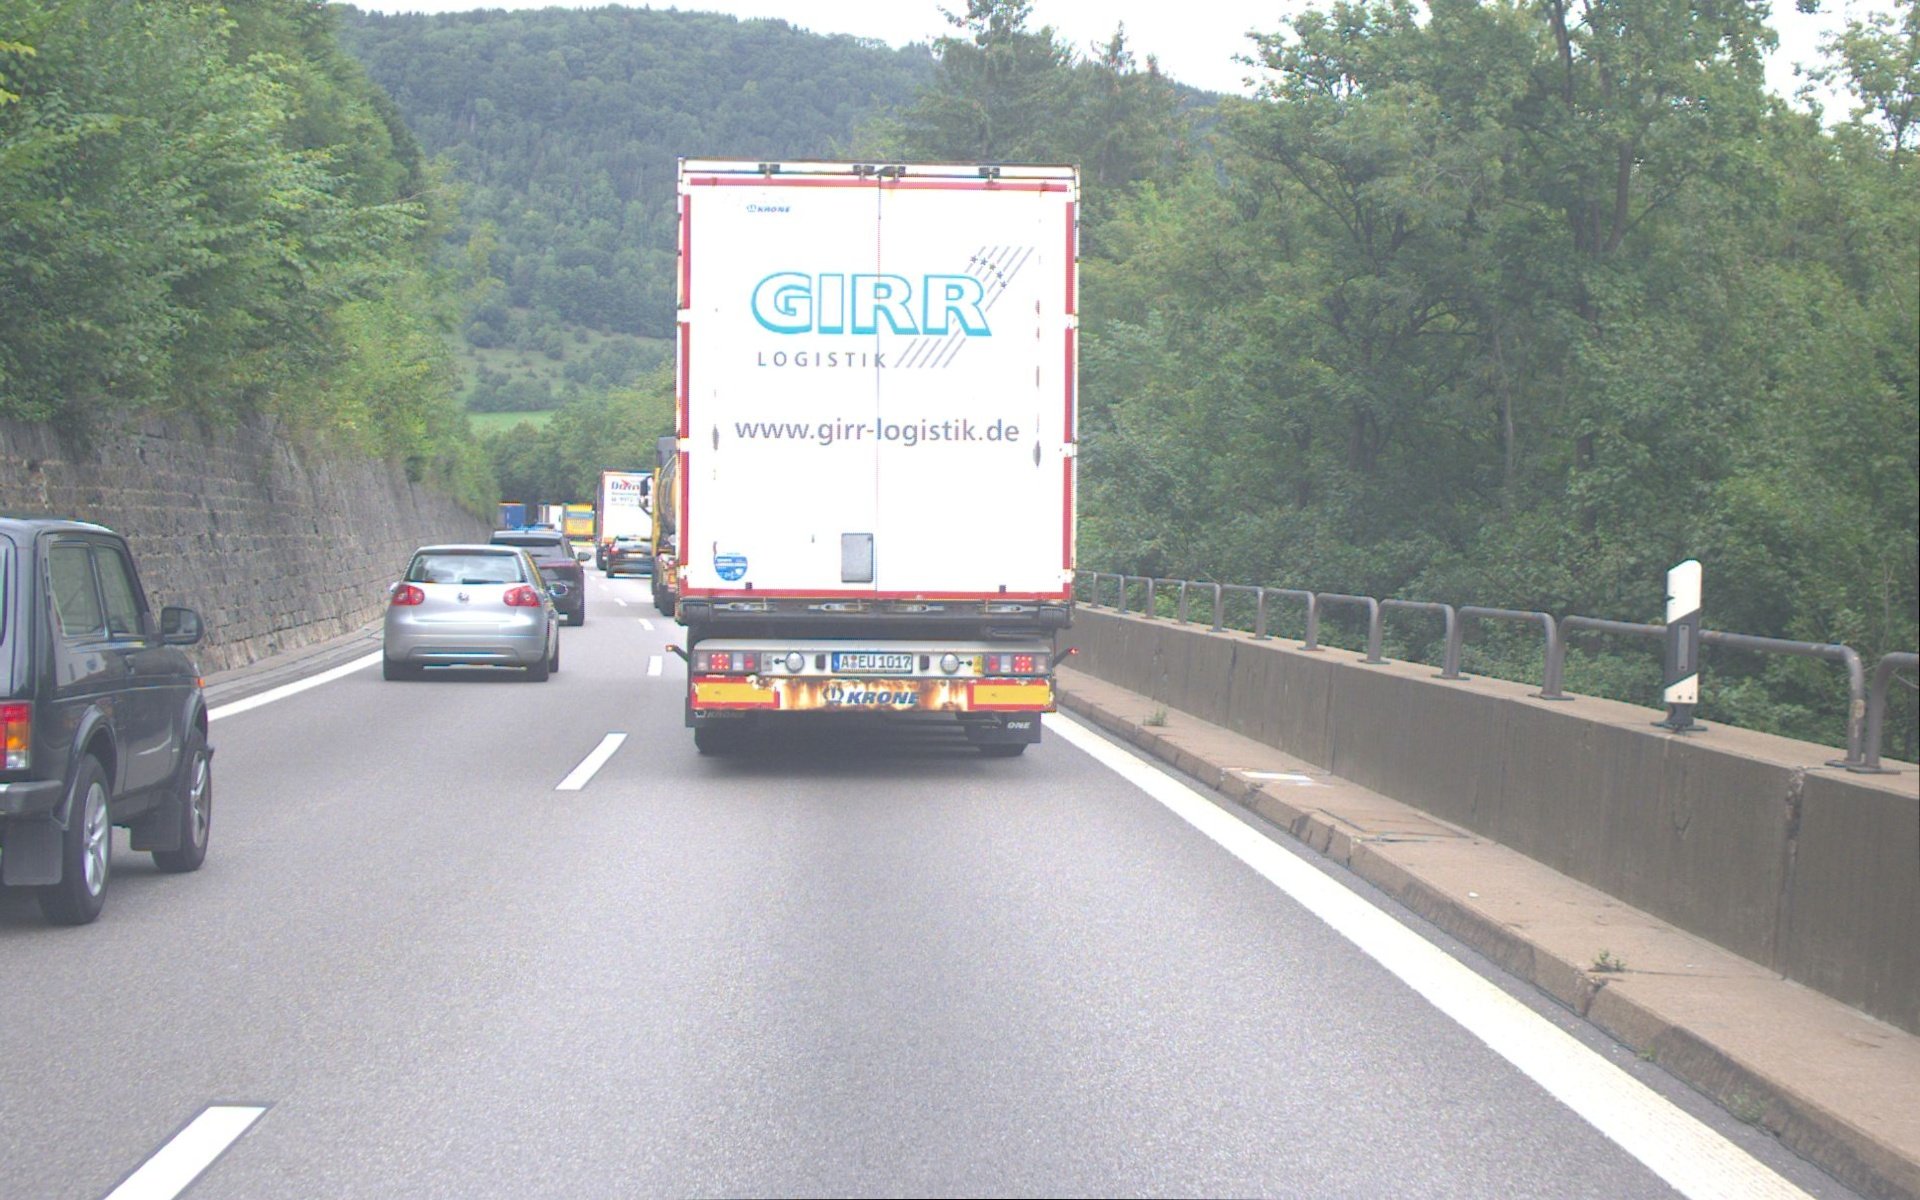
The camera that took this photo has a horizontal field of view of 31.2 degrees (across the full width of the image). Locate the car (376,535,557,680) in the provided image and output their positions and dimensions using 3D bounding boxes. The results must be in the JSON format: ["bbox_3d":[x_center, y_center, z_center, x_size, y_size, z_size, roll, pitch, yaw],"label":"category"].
[{"bbox_3d":[-5.369,0.058,37.783,1.729,1.481,4.001,1,1,-5],"label":"car"}]

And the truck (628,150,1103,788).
[{"bbox_3d":[-0.770,-0.884,26.179,2.908,3.947,9.280,1,1,-2],"label":"truck"}]

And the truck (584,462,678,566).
[{"bbox_3d":[-13.216,-3.388,139.083,3.510,3.834,11.778,2,0,-5],"label":"truck"}]

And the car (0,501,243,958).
[{"bbox_3d":[-4.182,0.428,14.287,1.669,1.633,4.068,1,1,-2],"label":"car"}]

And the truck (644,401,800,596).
[{"bbox_3d":[-4.820,-1.931,68.203,2.485,3.559,9.311,1,1,-7],"label":"truck"}]

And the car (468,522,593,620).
[{"bbox_3d":[-7.321,-0.497,58.952,1.916,1.589,4.180,1,1,-5],"label":"car"}]

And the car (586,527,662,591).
[{"bbox_3d":[-11.084,-1.345,113.708,1.993,2.007,4.000,2,0,1],"label":"car"}]
